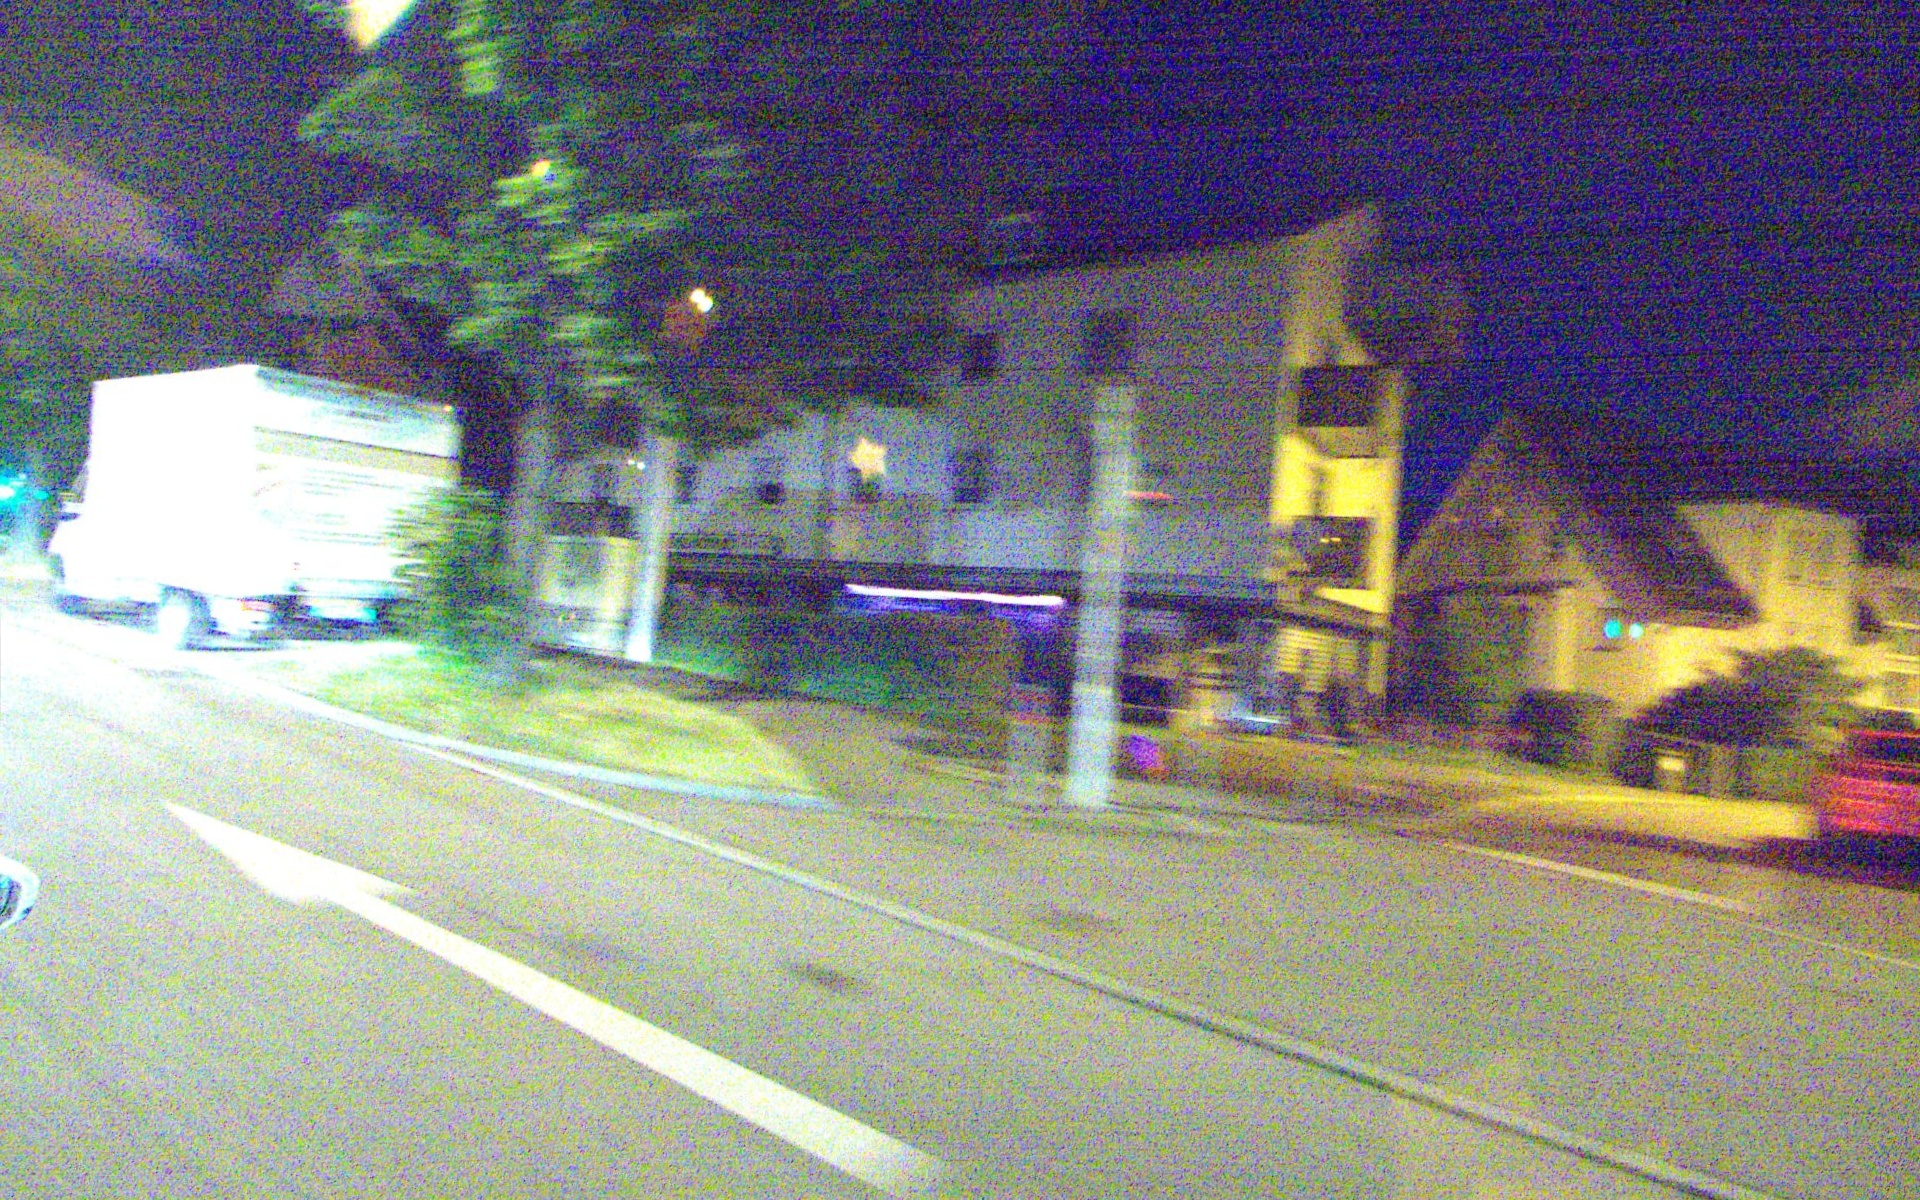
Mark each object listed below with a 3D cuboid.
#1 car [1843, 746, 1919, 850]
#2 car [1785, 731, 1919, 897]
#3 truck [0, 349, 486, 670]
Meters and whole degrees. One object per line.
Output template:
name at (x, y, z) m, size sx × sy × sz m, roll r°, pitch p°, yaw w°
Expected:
car at (15.925, 3.247, 15.985) m, size 4.040 × 1.403 × 1.864 m, roll 9°, pitch -3°, yaw -34°
car at (11.452, 2.561, 12.180) m, size 2.025 × 1.573 × 4.238 m, roll 5°, pitch -3°, yaw 42°
truck at (-9.375, -1.116, 12.705) m, size 6.922 × 3.084 × 2.764 m, roll 7°, pitch 2°, yaw 33°
